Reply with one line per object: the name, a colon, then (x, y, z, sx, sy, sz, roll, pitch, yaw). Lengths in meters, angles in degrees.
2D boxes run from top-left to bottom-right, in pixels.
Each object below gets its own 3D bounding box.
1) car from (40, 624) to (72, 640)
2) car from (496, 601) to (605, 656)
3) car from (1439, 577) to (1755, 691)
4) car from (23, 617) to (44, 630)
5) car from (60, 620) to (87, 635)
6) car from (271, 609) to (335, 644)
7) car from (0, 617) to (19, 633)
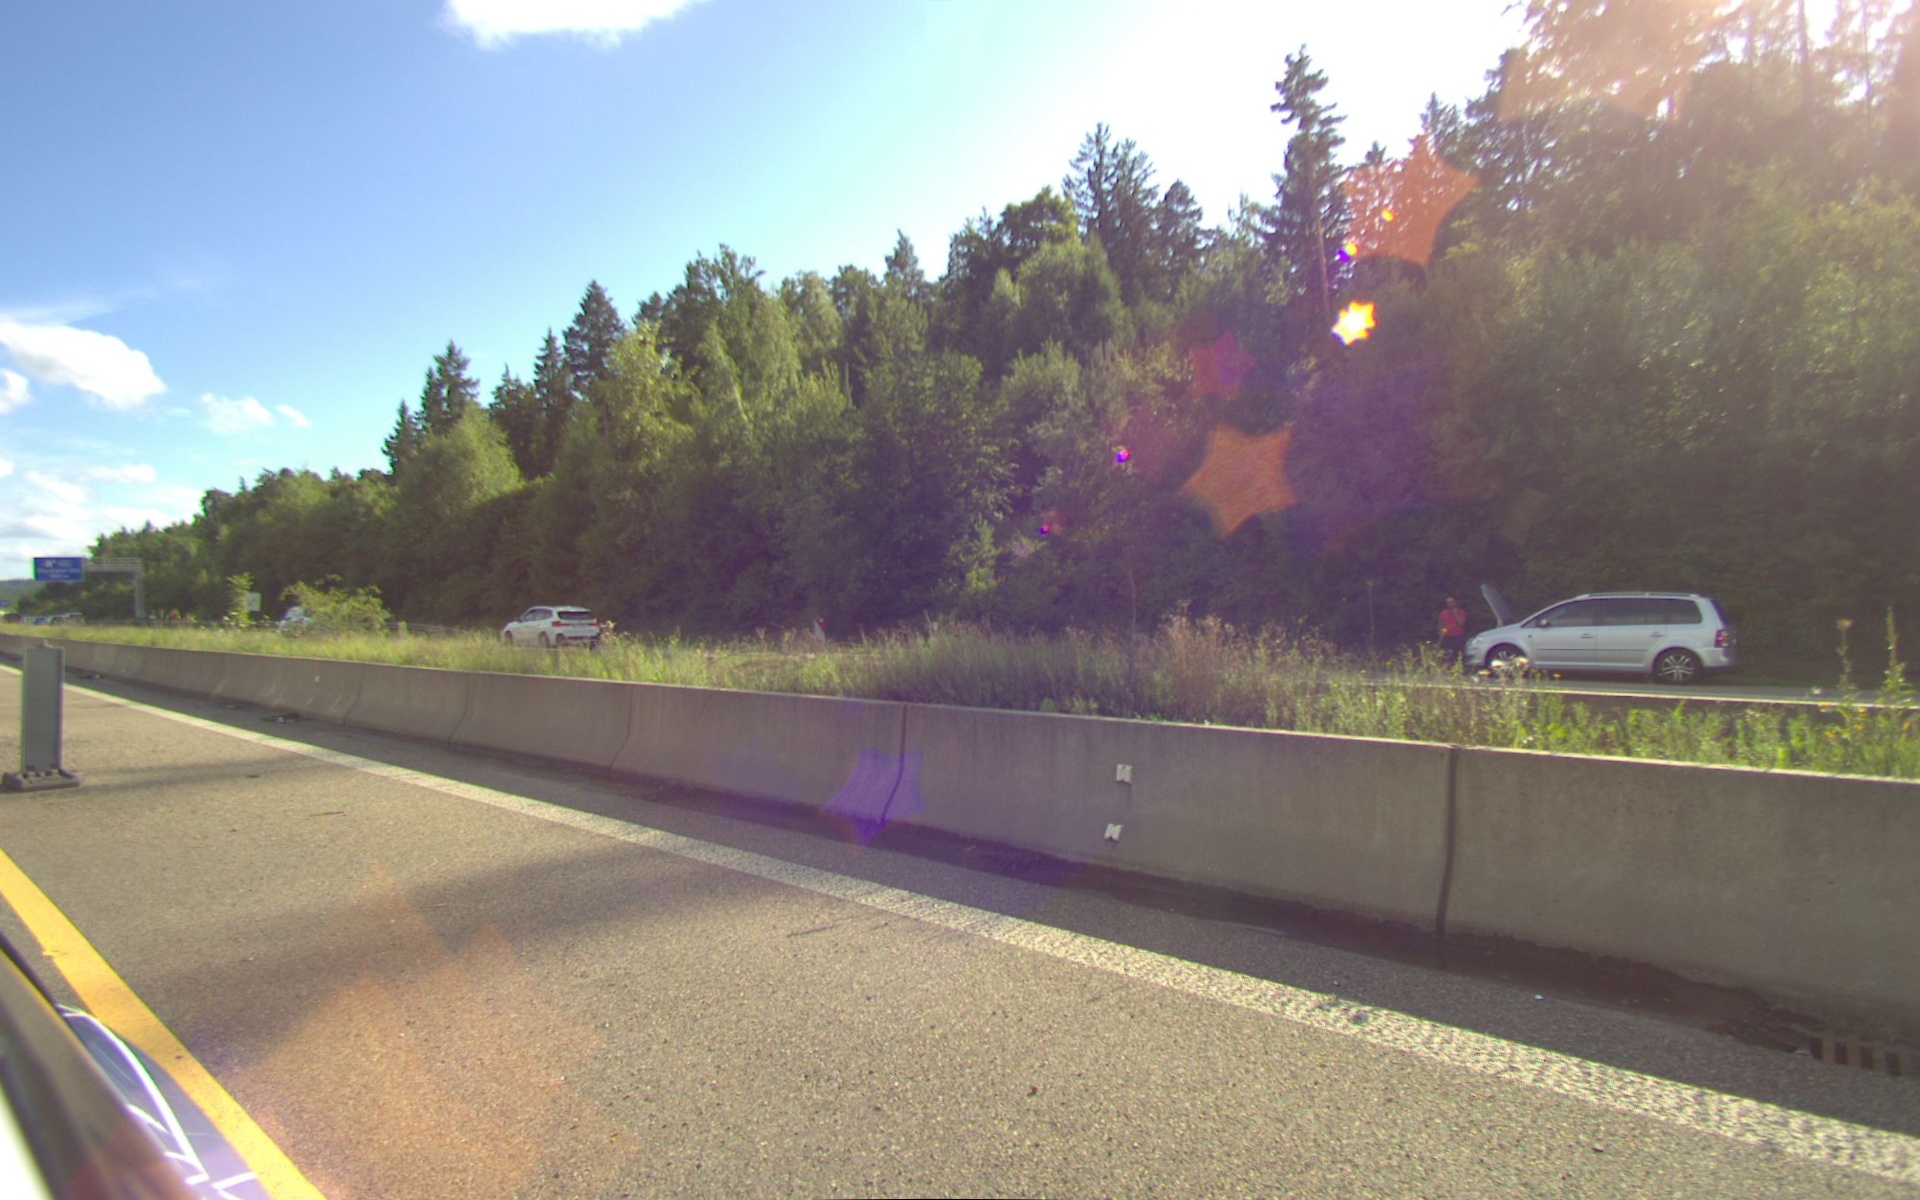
car: (-85.691, 2.995, 95.951, 4.102, 1.467, 1.759, -1, 0, 41)
car: (-14.403, 0.957, 35.515, 4.363, 1.799, 1.759, -1, 0, 41)
car: (11.721, 0.582, 18.828, 4.759, 1.867, 1.841, -1, 0, 41)
car: (-134.227, 3.380, 146.565, 4.615, 1.917, 1.759, -1, 0, 41)
car: (-104.670, 3.266, 119.444, 4.615, 1.701, 1.759, -1, 0, 41)
car: (-35.332, 1.401, 54.364, 4.363, 1.799, 1.759, -1, 0, 41)
car: (-123.491, 3.225, 131.209, 4.615, 1.917, 1.759, -1, 0, 41)
